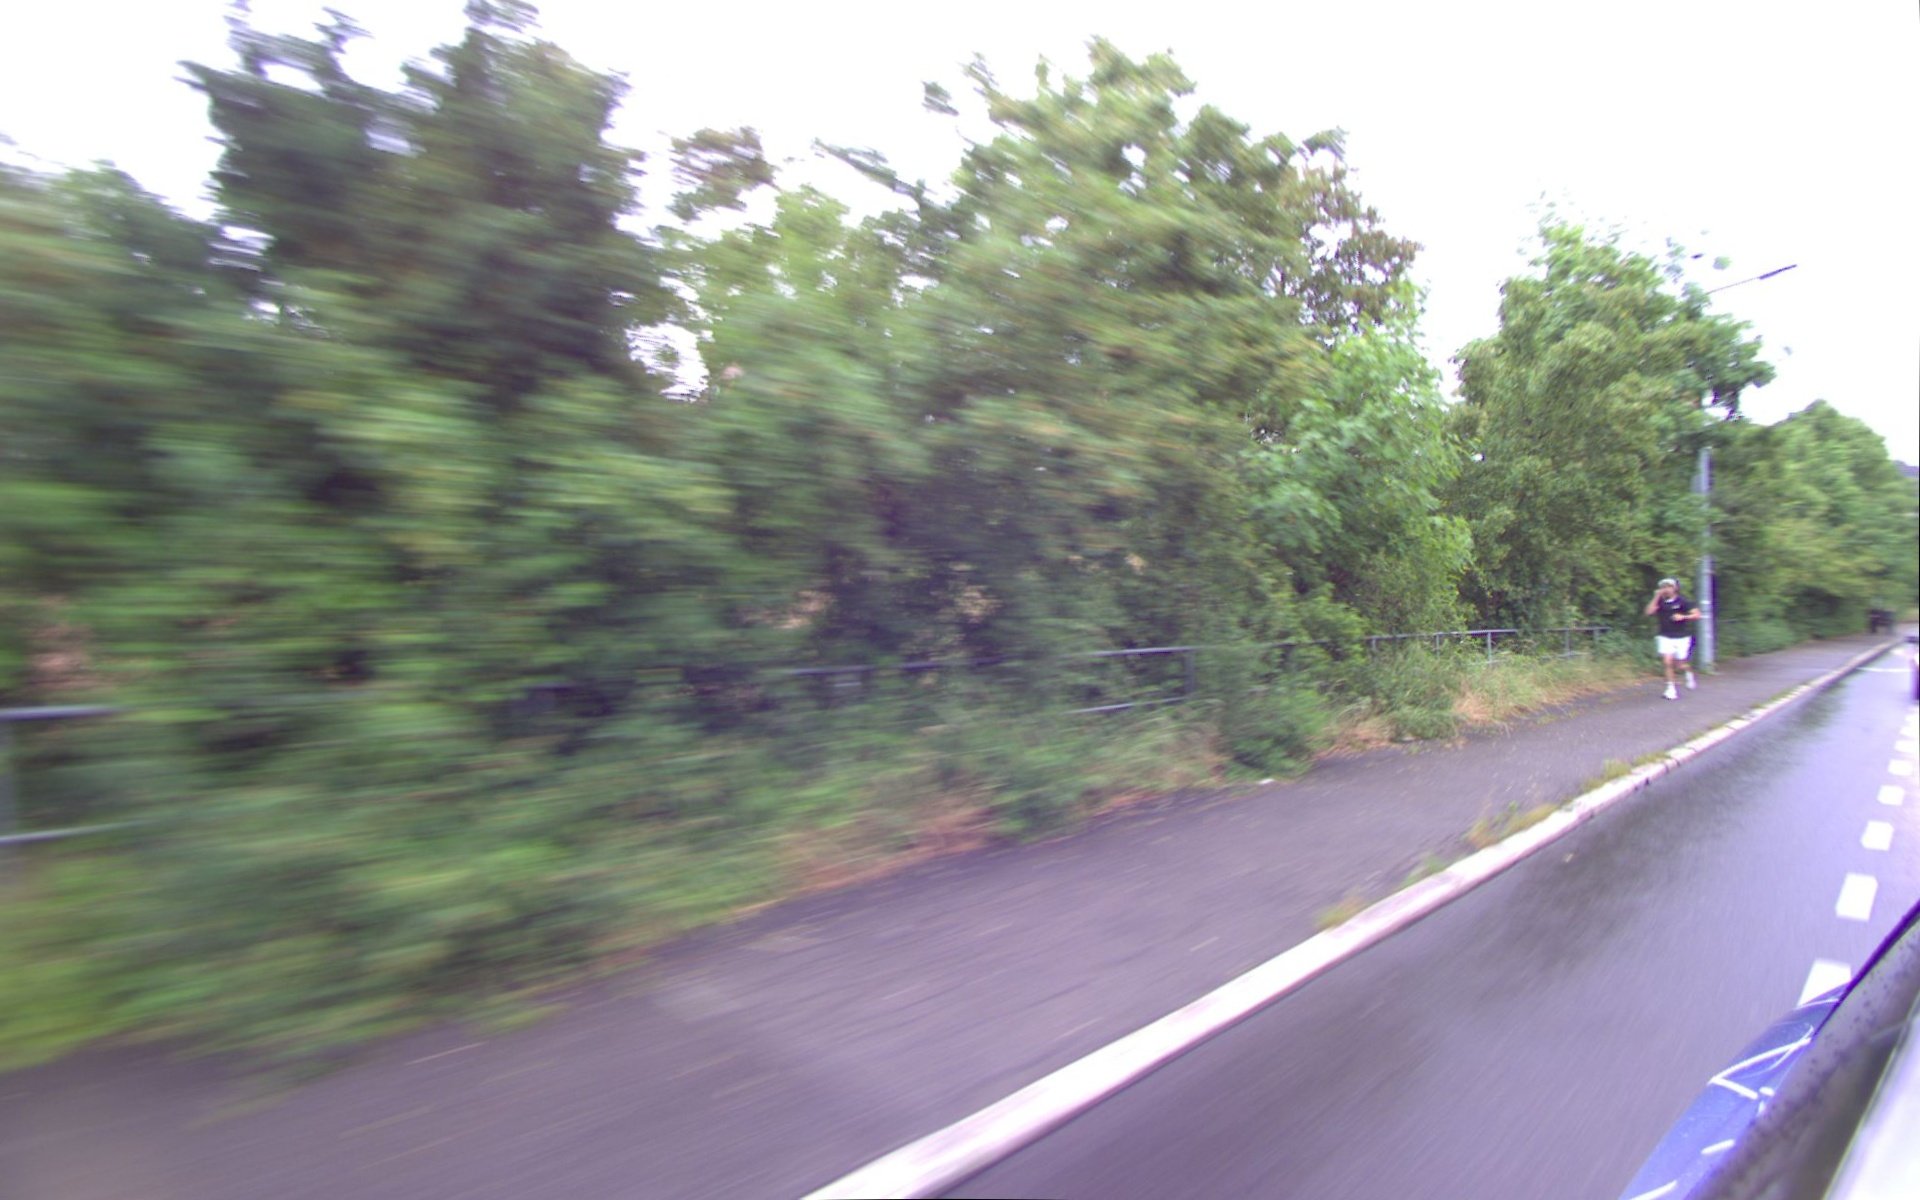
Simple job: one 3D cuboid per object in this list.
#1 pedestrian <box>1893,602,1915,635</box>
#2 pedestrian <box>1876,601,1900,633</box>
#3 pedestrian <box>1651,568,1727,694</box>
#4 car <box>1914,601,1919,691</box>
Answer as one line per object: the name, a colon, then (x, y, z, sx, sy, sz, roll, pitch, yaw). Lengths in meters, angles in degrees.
pedestrian: (46.799, 0.892, 50.153, 0.476, 1.585, 0.555, 2, 3, -23)
pedestrian: (46.621, 0.852, 50.862, 0.655, 1.585, 0.599, 0, 3, -25)
pedestrian: (11.274, 0.457, 15.653, 1.004, 1.857, 0.718, 1, 1, -43)
car: (17.433, 0.769, 17.131, 1.799, 1.445, 4.312, -3, -4, 44)
